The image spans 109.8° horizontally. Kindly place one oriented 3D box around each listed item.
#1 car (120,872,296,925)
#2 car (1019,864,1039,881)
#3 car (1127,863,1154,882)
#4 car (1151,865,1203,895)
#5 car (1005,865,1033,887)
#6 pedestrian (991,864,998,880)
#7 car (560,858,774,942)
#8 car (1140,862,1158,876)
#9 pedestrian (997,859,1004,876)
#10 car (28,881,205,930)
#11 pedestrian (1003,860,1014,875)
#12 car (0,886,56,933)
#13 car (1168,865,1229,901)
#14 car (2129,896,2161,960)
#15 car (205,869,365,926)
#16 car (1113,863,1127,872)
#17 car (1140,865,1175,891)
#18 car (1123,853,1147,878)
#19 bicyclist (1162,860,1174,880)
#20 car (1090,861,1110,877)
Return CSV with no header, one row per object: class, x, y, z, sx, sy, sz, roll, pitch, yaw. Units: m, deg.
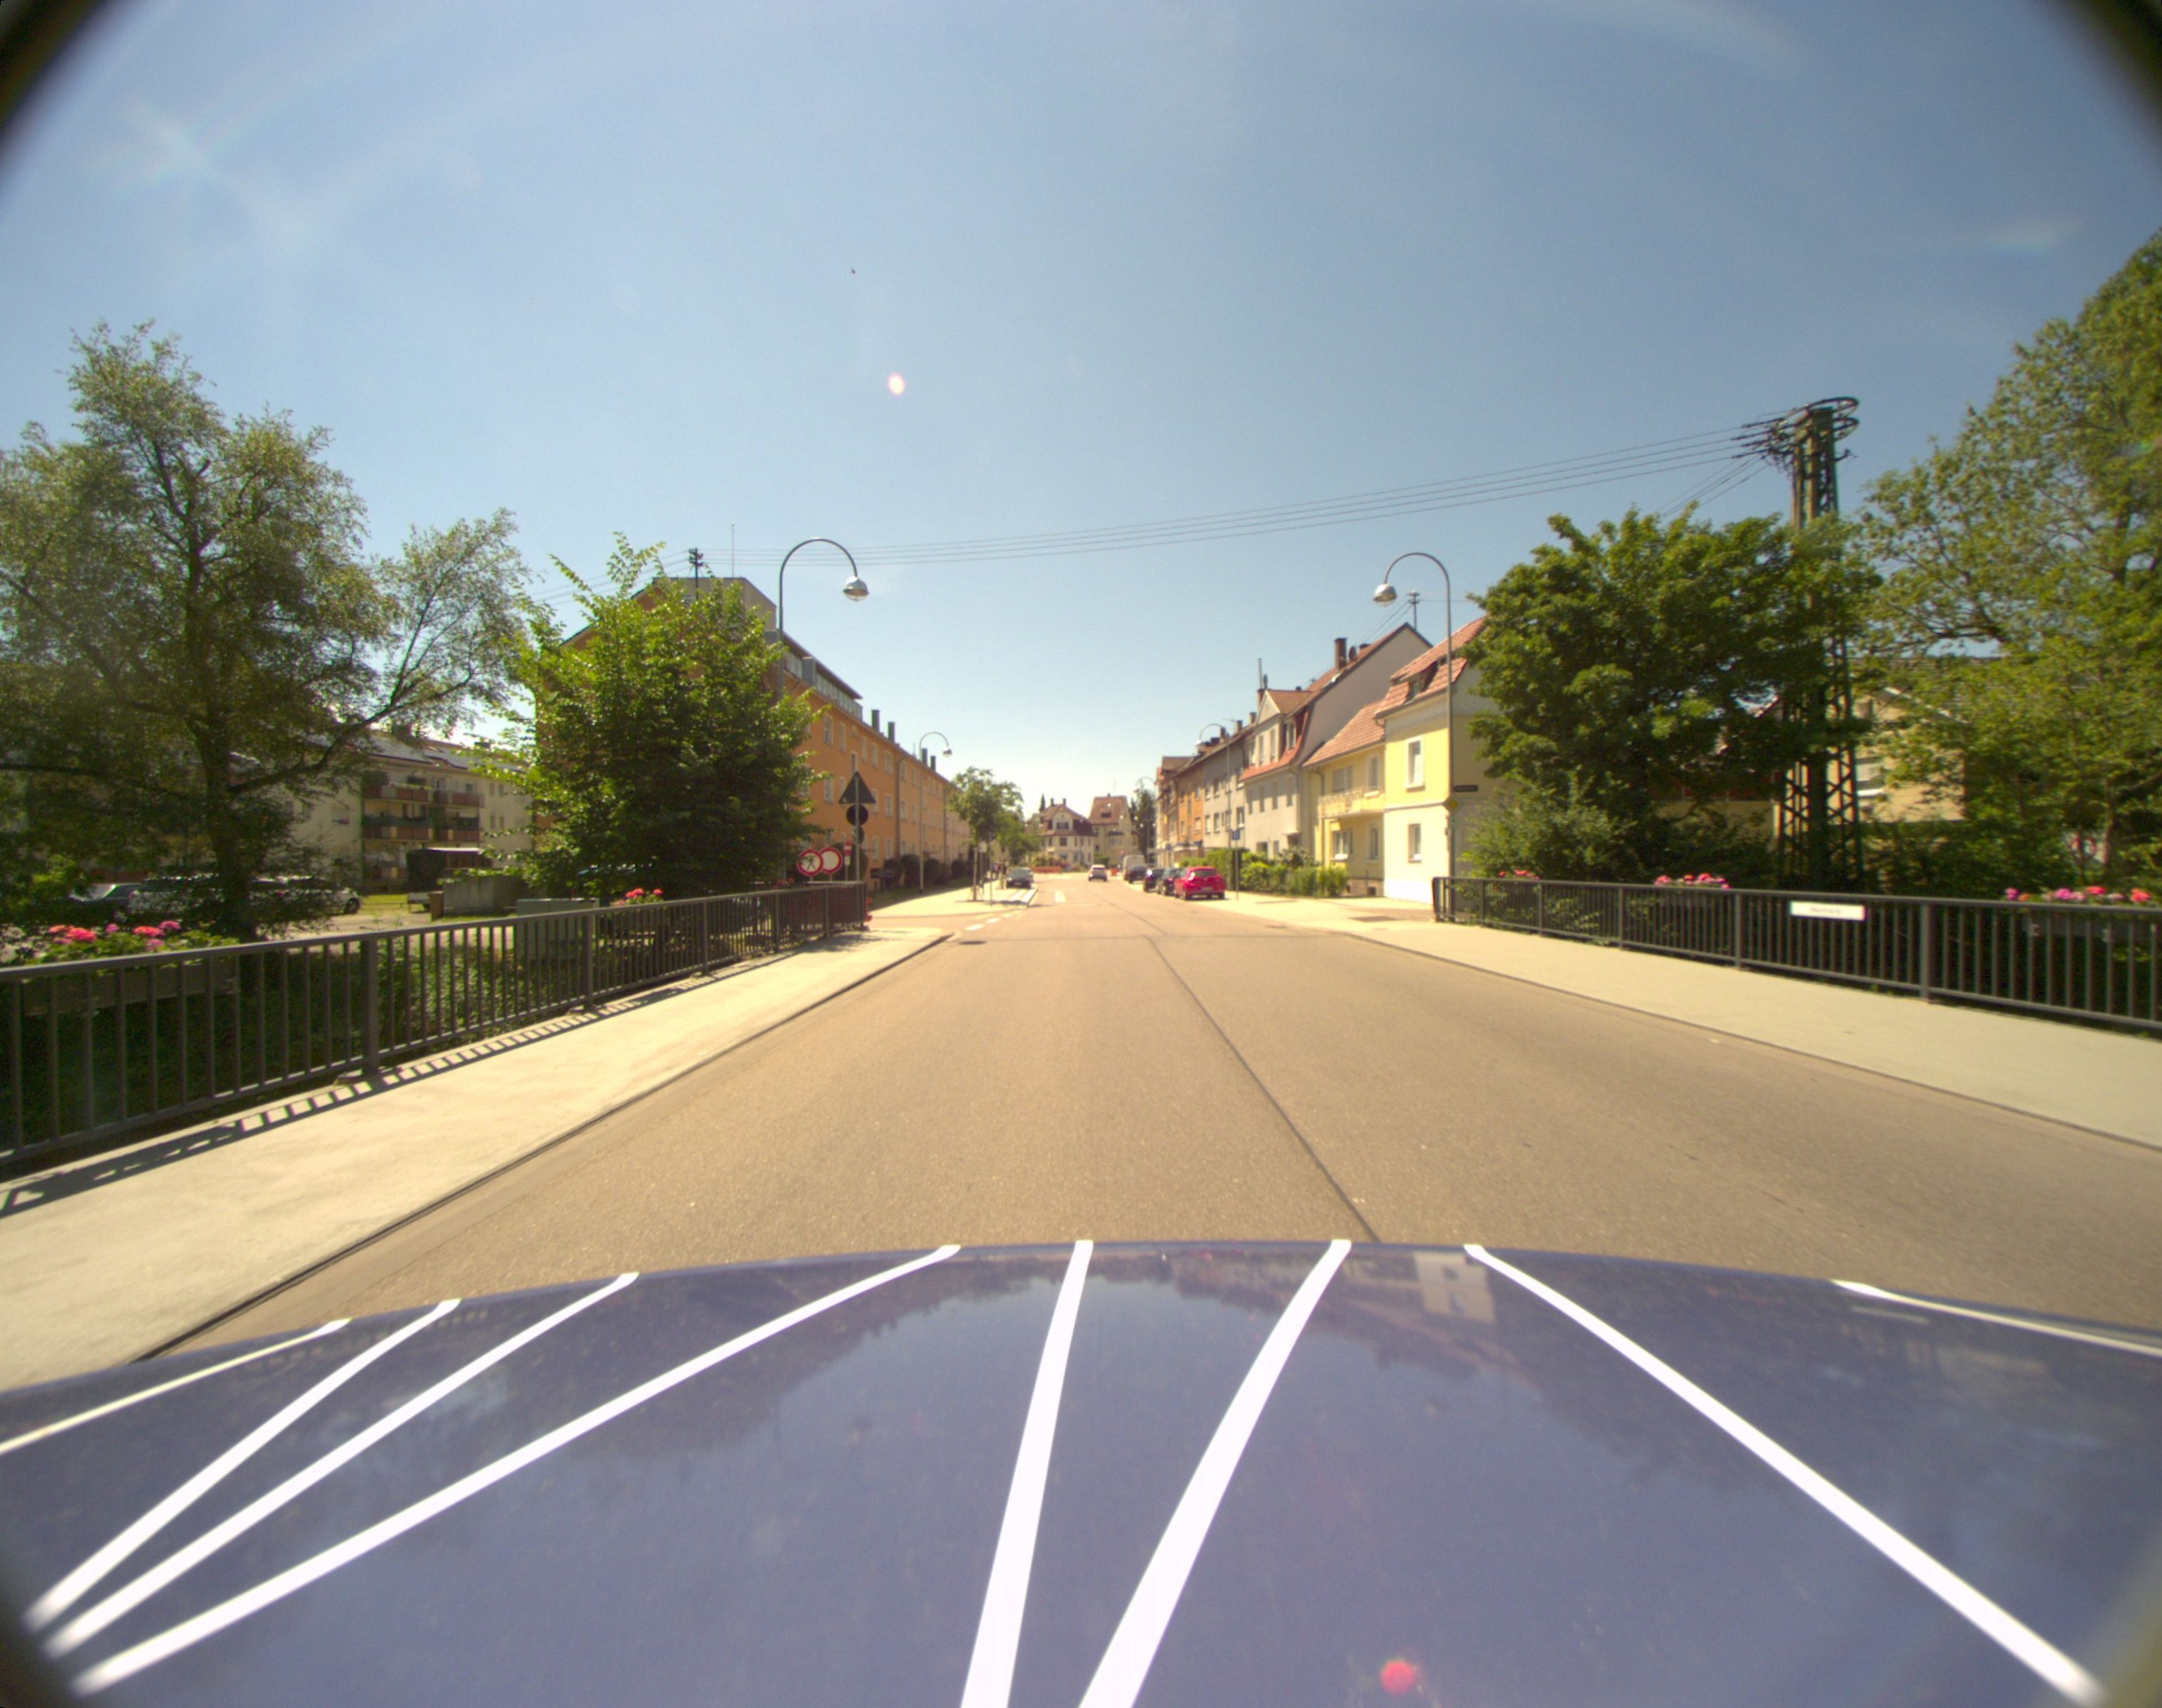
car,-30.048,1.469,26.376,2.001,1.620,3.996,-1,0,-13
car,-5.084,1.759,73.824,1.819,1.468,4.504,1,0,-6
car,5.339,1.601,67.847,2.089,1.605,5.112,-2,-1,7
car,5.095,1.369,41.014,1.868,1.453,5.306,-2,-1,-2
car,-4.586,1.594,56.960,1.838,1.495,5.063,1,-1,-2
pedestrian,-10.068,2.099,88.602,0.796,1.768,1.008,0,0,-6
car,-10.283,1.105,19.193,4.352,1.828,1.748,-2,1,-10
car,7.943,1.735,88.909,1.799,1.532,4.116,-2,0,2
pedestrian,-9.005,1.515,85.137,0.823,1.842,0.984,0,-1,-6
car,-32.764,1.681,25.997,1.620,1.412,3.916,-1,0,-13
pedestrian,-8.458,1.590,88.564,1.175,1.723,1.190,2,0,-7
car,-37.832,1.932,25.448,2.001,1.554,3.996,-1,0,-13
car,5.350,1.287,35.204,1.882,1.471,4.737,-3,0,-2
car,27.494,1.819,17.533,3.998,1.468,1.999,1,1,-3
car,-27.927,1.465,26.864,2.001,1.773,3.996,-1,0,-13
car,6.763,2.332,132.182,1.800,1.481,4.388,-2,1,-3
car,4.693,1.452,47.079,1.792,1.450,4.199,-3,-1,2
car,5.603,1.178,79.000,2.124,2.435,6.118,-2,0,1
bicyclist,7.233,1.362,63.215,0.784,1.649,0.835,0,0,-4
car,1.912,1.504,76.261,1.882,1.587,4.360,1,-1,0
